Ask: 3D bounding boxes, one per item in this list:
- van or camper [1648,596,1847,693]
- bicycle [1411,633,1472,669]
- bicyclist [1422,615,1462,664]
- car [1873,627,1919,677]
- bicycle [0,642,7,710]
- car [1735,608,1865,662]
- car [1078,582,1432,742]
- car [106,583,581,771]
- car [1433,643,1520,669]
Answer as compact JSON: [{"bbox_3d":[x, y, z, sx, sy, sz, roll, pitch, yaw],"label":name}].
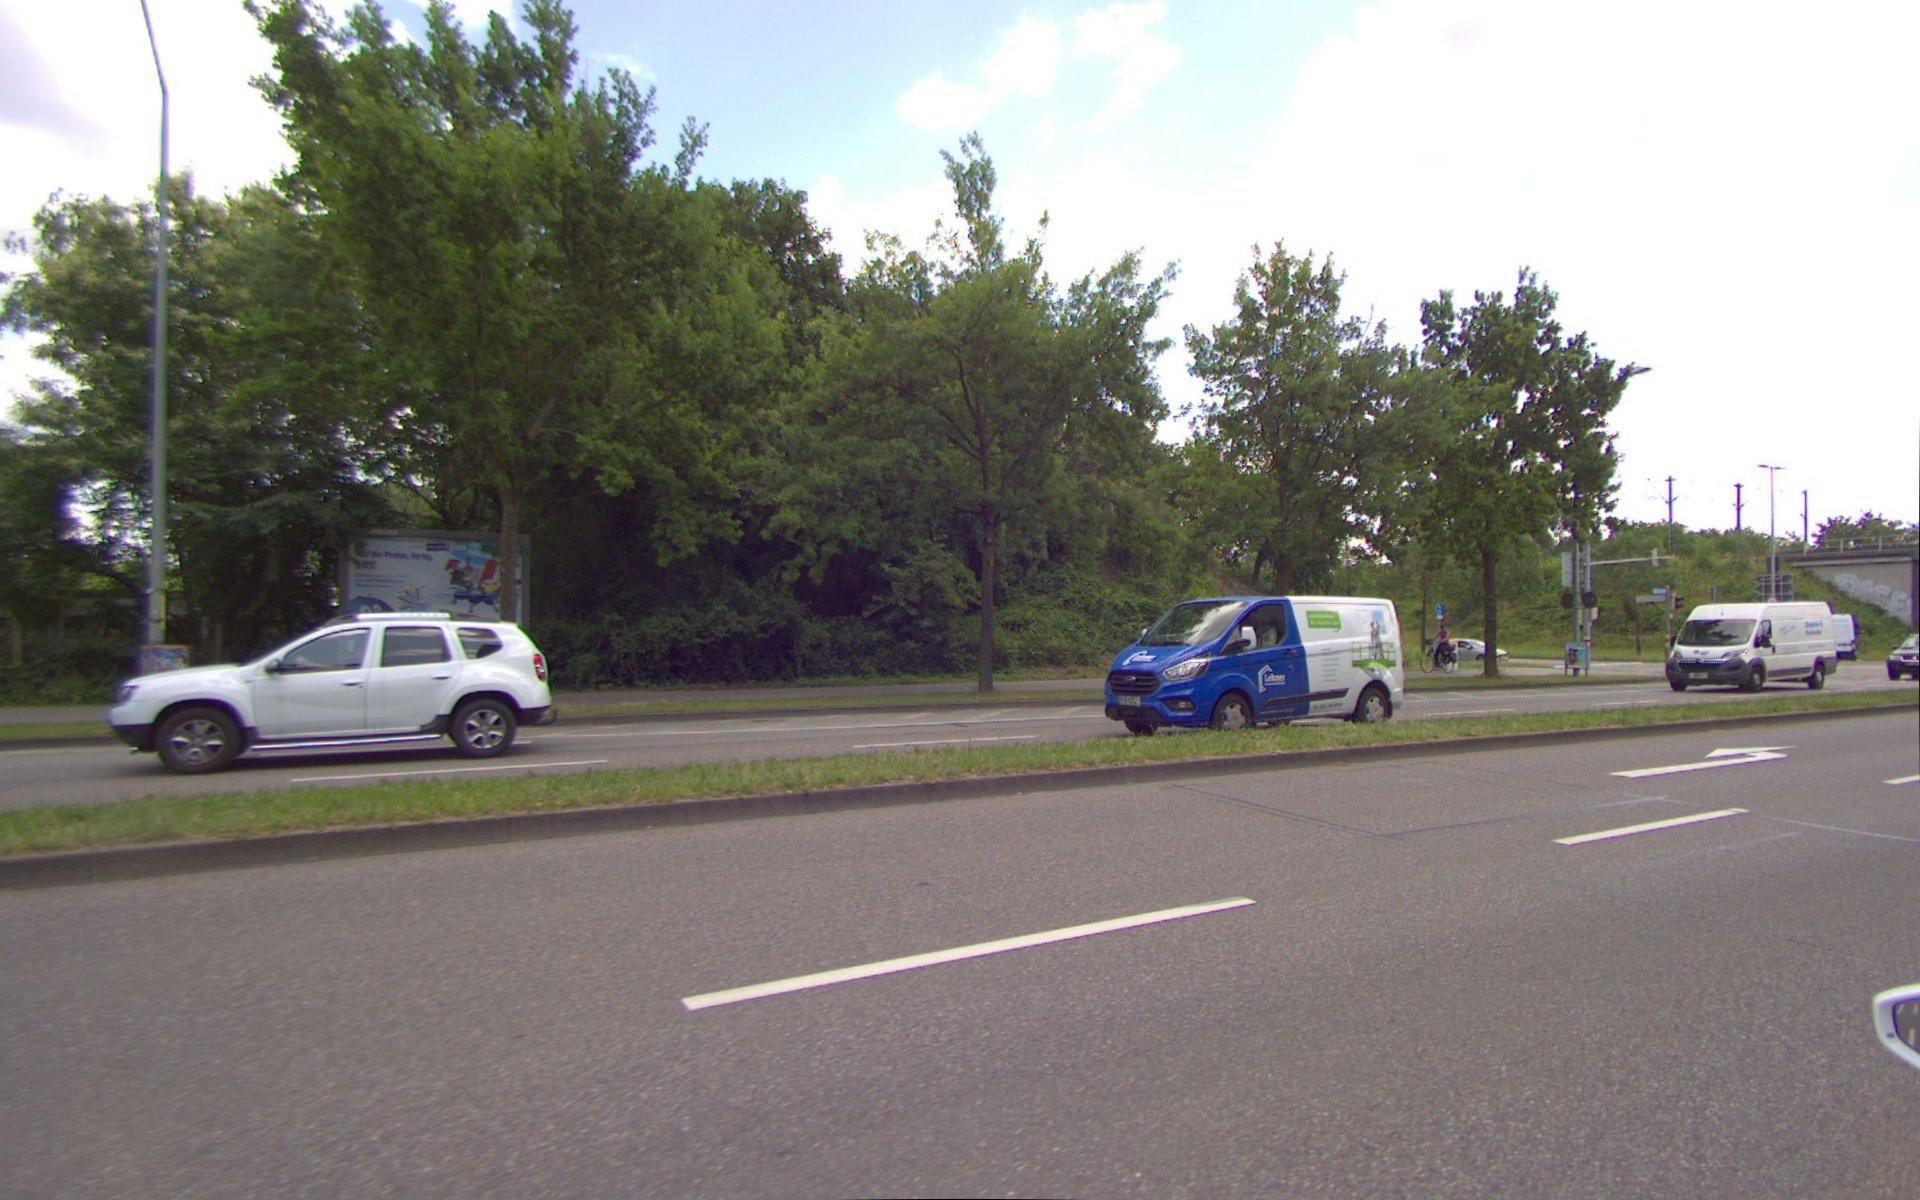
[{"bbox_3d":[23.154,1.246,29.432,6.985,2.573,2.339,1,0,-32],"label":"van or camper"},{"bbox_3d":[17.757,1.879,37.045,2.364,1.287,0.818,2,0,-29],"label":"bicycle"},{"bbox_3d":[17.745,1.446,37.013,0.984,1.770,0.889,1,0,-27],"label":"bicyclist"},{"bbox_3d":[36.085,1.921,37.418,4.172,1.789,1.983,1,-2,-32],"label":"car"},{"bbox_3d":[-16.736,1.242,16.240,1.819,1.121,0.508,2,0,-25],"label":"bicycle"},{"bbox_3d":[46.765,1.937,56.105,5.325,2.859,2.380,-1,-2,34],"label":"car"},{"bbox_3d":[4.424,0.846,14.816,5.135,1.989,2.179,1,-2,-32],"label":"car"},{"bbox_3d":[-6.875,0.825,11.735,4.355,1.825,1.985,1,-3,-29],"label":"car"},{"bbox_3d":[30.114,3.236,58.697,1.972,1.397,4.298,1,-2,-24],"label":"car"}]
